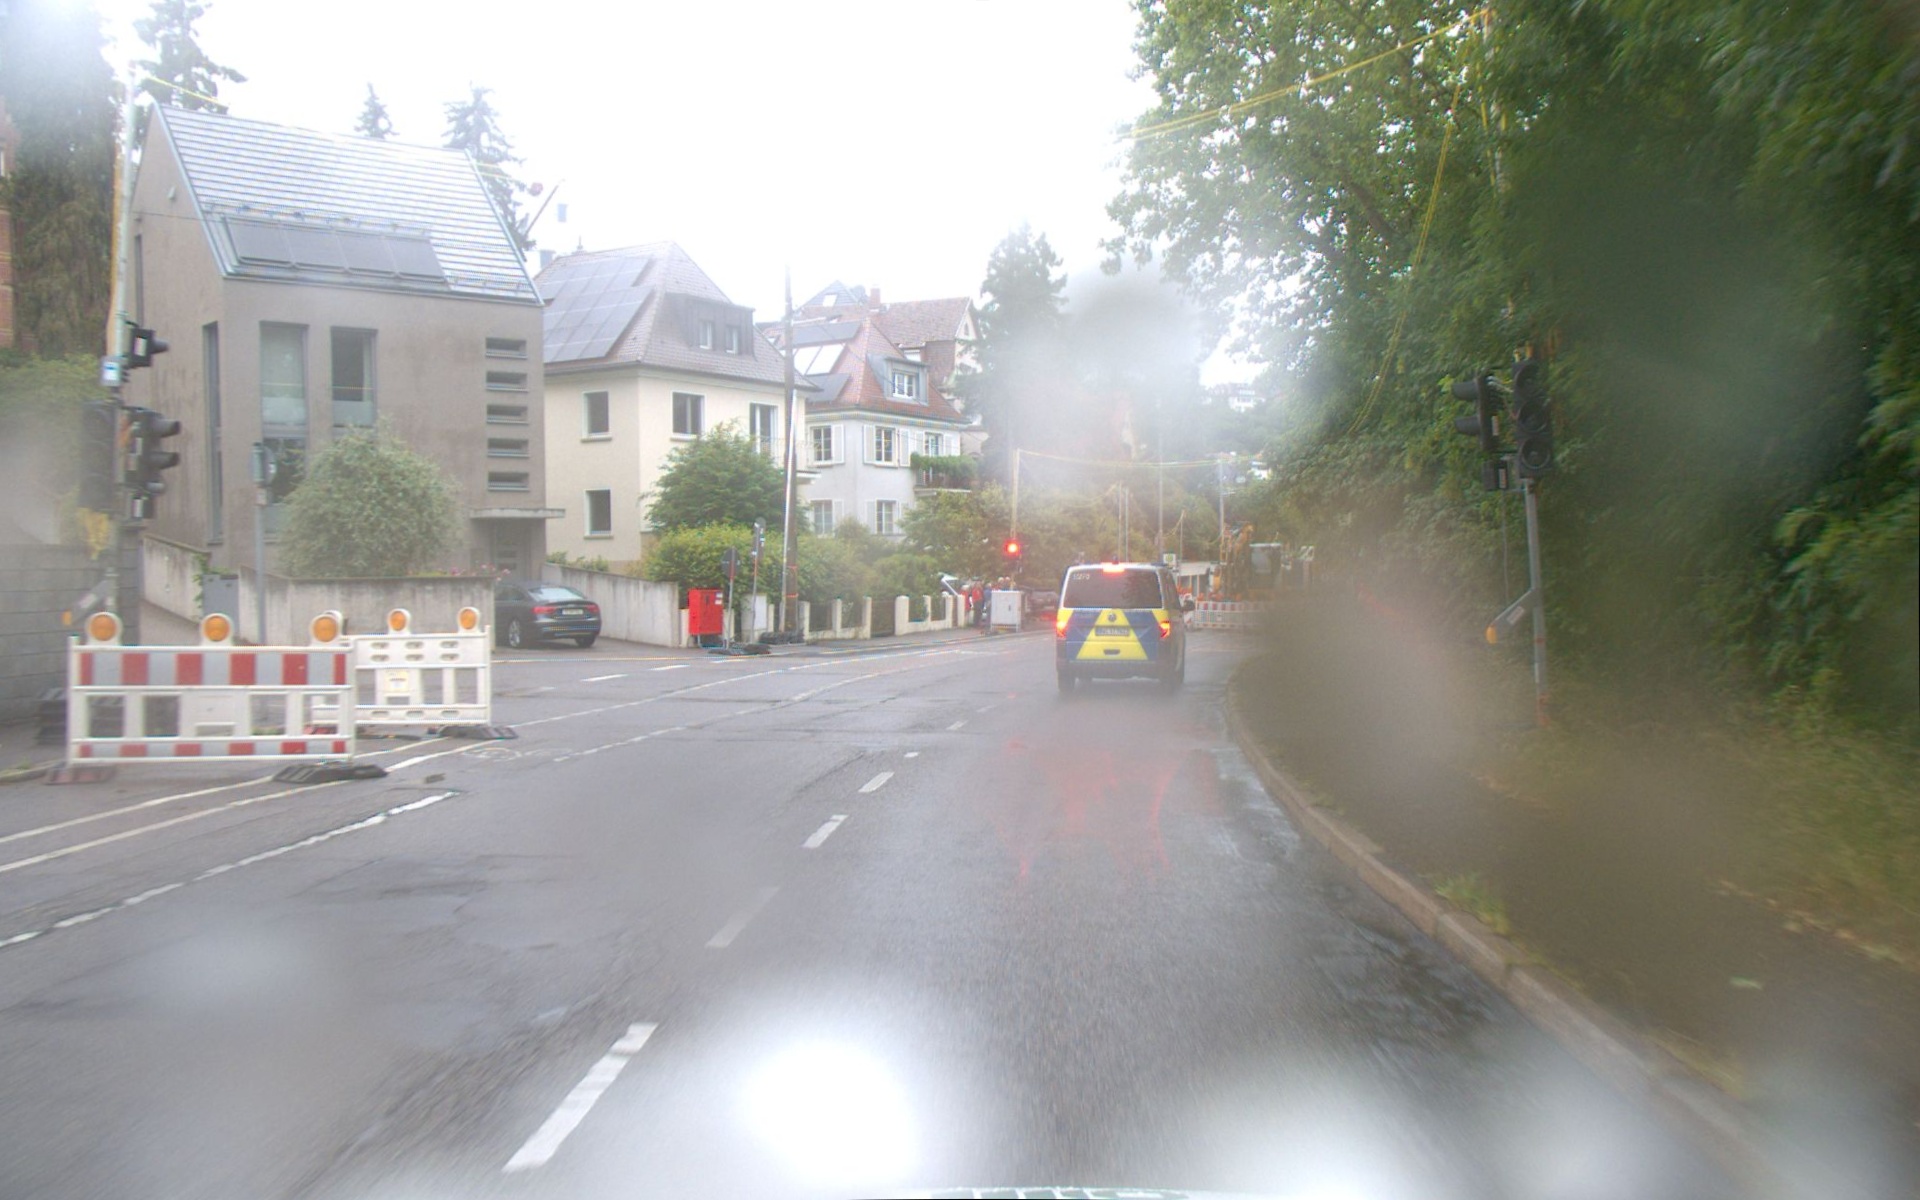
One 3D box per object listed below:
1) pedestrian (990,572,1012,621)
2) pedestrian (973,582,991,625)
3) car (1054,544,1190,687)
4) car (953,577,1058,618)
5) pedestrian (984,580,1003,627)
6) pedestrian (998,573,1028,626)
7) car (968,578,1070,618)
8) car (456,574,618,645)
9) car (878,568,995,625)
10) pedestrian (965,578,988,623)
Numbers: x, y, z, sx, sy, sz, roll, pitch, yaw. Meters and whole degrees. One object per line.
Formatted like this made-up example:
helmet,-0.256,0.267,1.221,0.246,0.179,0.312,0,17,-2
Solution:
pedestrian,1.467,-0.126,59.295,0.613,1.745,0.593,2,-2,14
pedestrian,0.791,0.123,58.877,0.514,1.533,0.429,2,-2,14
car,2.540,0.201,26.901,1.952,2.048,4.404,-2,1,3
car,1.861,-0.102,68.093,3.907,1.512,1.759,1,-1,24
pedestrian,1.165,0.136,57.482,0.551,1.610,0.468,2,-2,14
pedestrian,1.873,-0.018,58.294,0.871,1.818,0.829,2,-2,11
car,2.492,-0.083,70.156,3.907,1.512,1.759,1,-1,24
car,-9.442,0.165,36.772,1.825,1.469,3.935,-1,1,-44
car,-0.866,-0.137,61.070,3.907,2.049,1.829,1,0,24
pedestrian,0.586,0.006,58.198,0.613,1.548,0.593,2,-2,14
